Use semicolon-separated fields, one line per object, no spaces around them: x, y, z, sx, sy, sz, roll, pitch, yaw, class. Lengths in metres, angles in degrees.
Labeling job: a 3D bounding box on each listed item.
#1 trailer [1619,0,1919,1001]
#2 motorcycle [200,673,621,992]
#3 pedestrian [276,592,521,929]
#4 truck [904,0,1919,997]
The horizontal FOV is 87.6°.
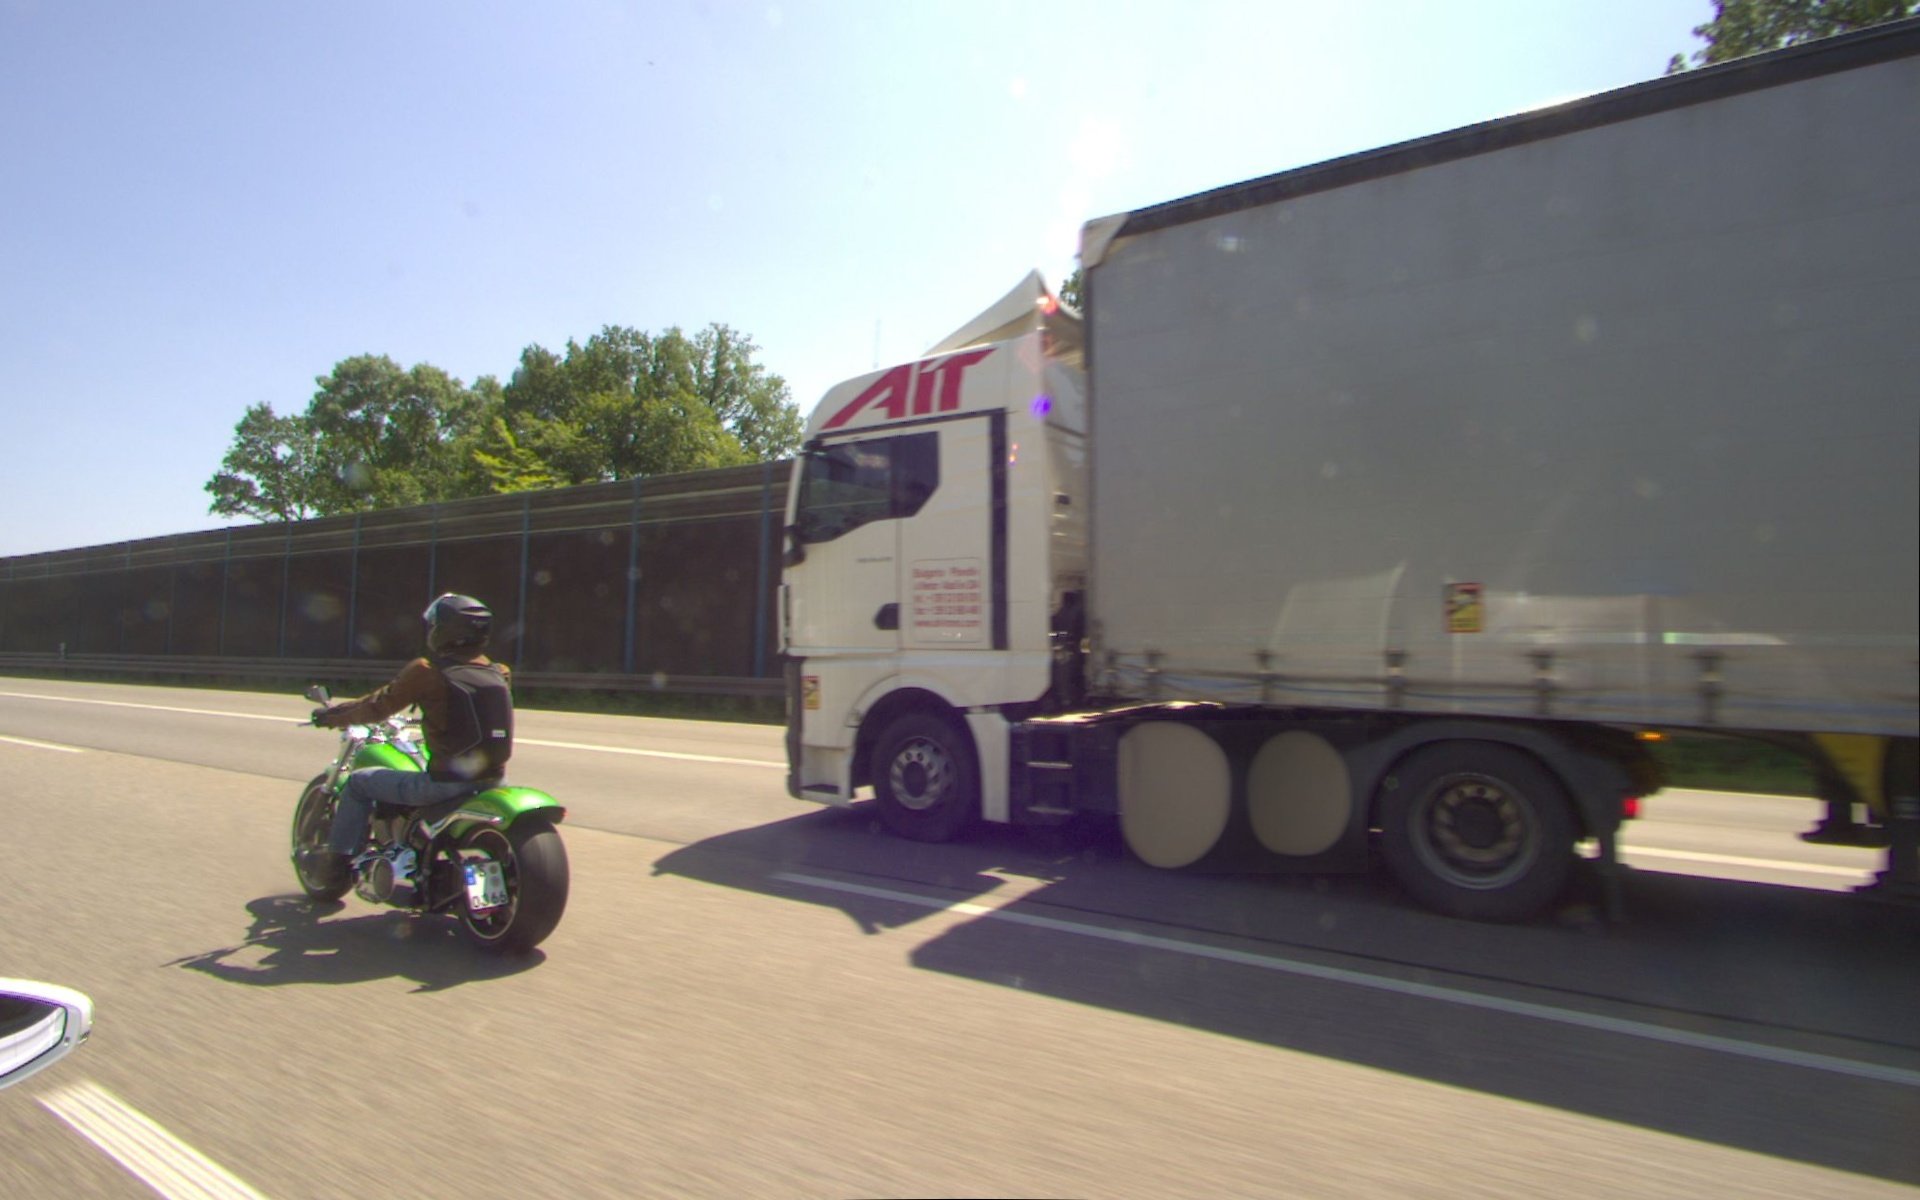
9.389;-0.551;1.987;13.402;4.142;2.593;-2;-2;33;trailer
-2.793;1.006;5.003;2.244;1.197;0.858;-1;-2;33;motorcycle
-2.777;0.733;4.996;0.629;1.497;0.850;0;-2;32;pedestrian
2.609;-0.385;6.386;5.474;4.142;2.594;-1;-2;33;truck
